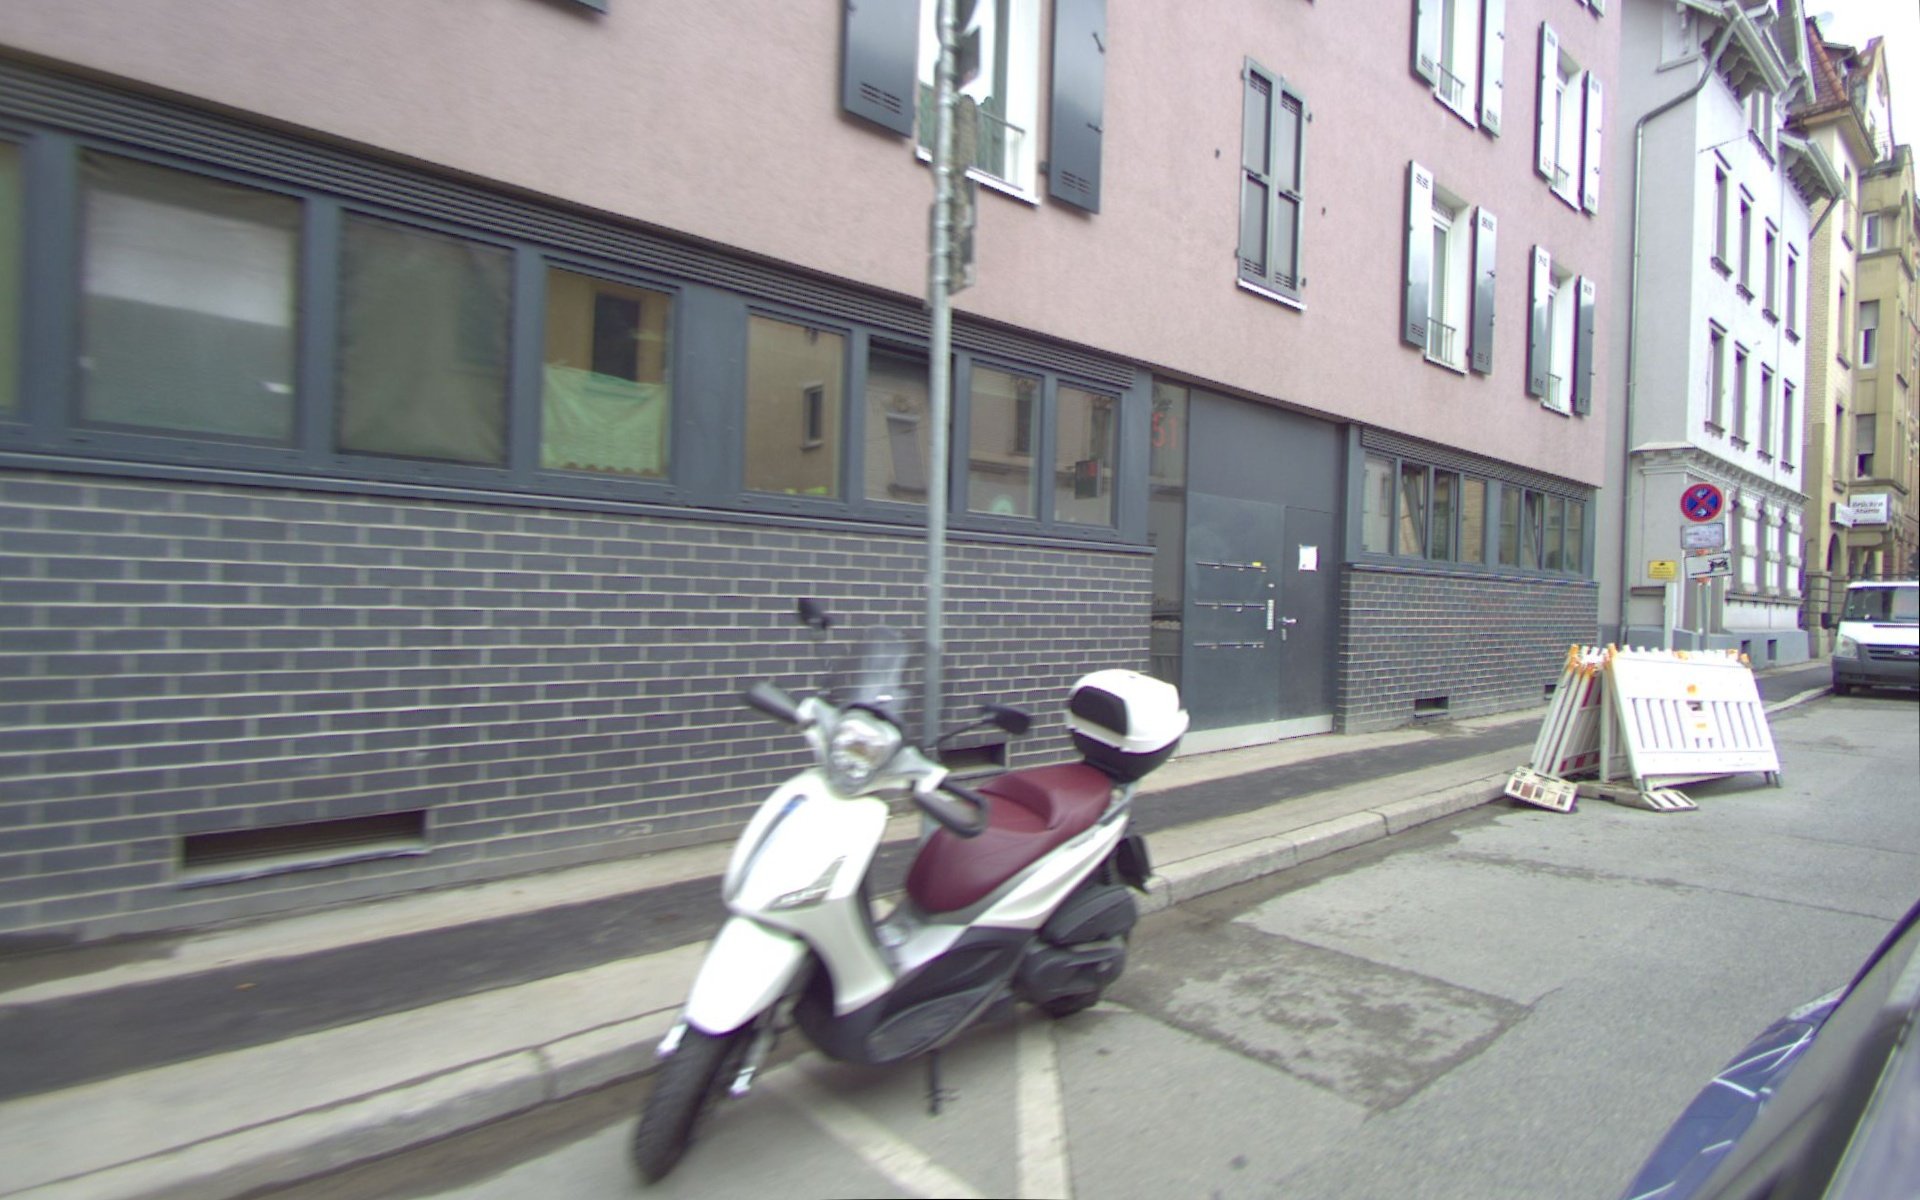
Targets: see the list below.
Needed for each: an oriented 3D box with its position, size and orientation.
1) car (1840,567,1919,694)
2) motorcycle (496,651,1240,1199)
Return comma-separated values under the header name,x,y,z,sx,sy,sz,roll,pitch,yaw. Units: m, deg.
name,x,y,z,sx,sy,sz,roll,pitch,yaw
car,16.991,0.478,17.580,4.794,2.006,1.996,0,1,-42
motorcycle,-0.085,0.830,3.045,2.297,1.242,0.648,0,0,-41
